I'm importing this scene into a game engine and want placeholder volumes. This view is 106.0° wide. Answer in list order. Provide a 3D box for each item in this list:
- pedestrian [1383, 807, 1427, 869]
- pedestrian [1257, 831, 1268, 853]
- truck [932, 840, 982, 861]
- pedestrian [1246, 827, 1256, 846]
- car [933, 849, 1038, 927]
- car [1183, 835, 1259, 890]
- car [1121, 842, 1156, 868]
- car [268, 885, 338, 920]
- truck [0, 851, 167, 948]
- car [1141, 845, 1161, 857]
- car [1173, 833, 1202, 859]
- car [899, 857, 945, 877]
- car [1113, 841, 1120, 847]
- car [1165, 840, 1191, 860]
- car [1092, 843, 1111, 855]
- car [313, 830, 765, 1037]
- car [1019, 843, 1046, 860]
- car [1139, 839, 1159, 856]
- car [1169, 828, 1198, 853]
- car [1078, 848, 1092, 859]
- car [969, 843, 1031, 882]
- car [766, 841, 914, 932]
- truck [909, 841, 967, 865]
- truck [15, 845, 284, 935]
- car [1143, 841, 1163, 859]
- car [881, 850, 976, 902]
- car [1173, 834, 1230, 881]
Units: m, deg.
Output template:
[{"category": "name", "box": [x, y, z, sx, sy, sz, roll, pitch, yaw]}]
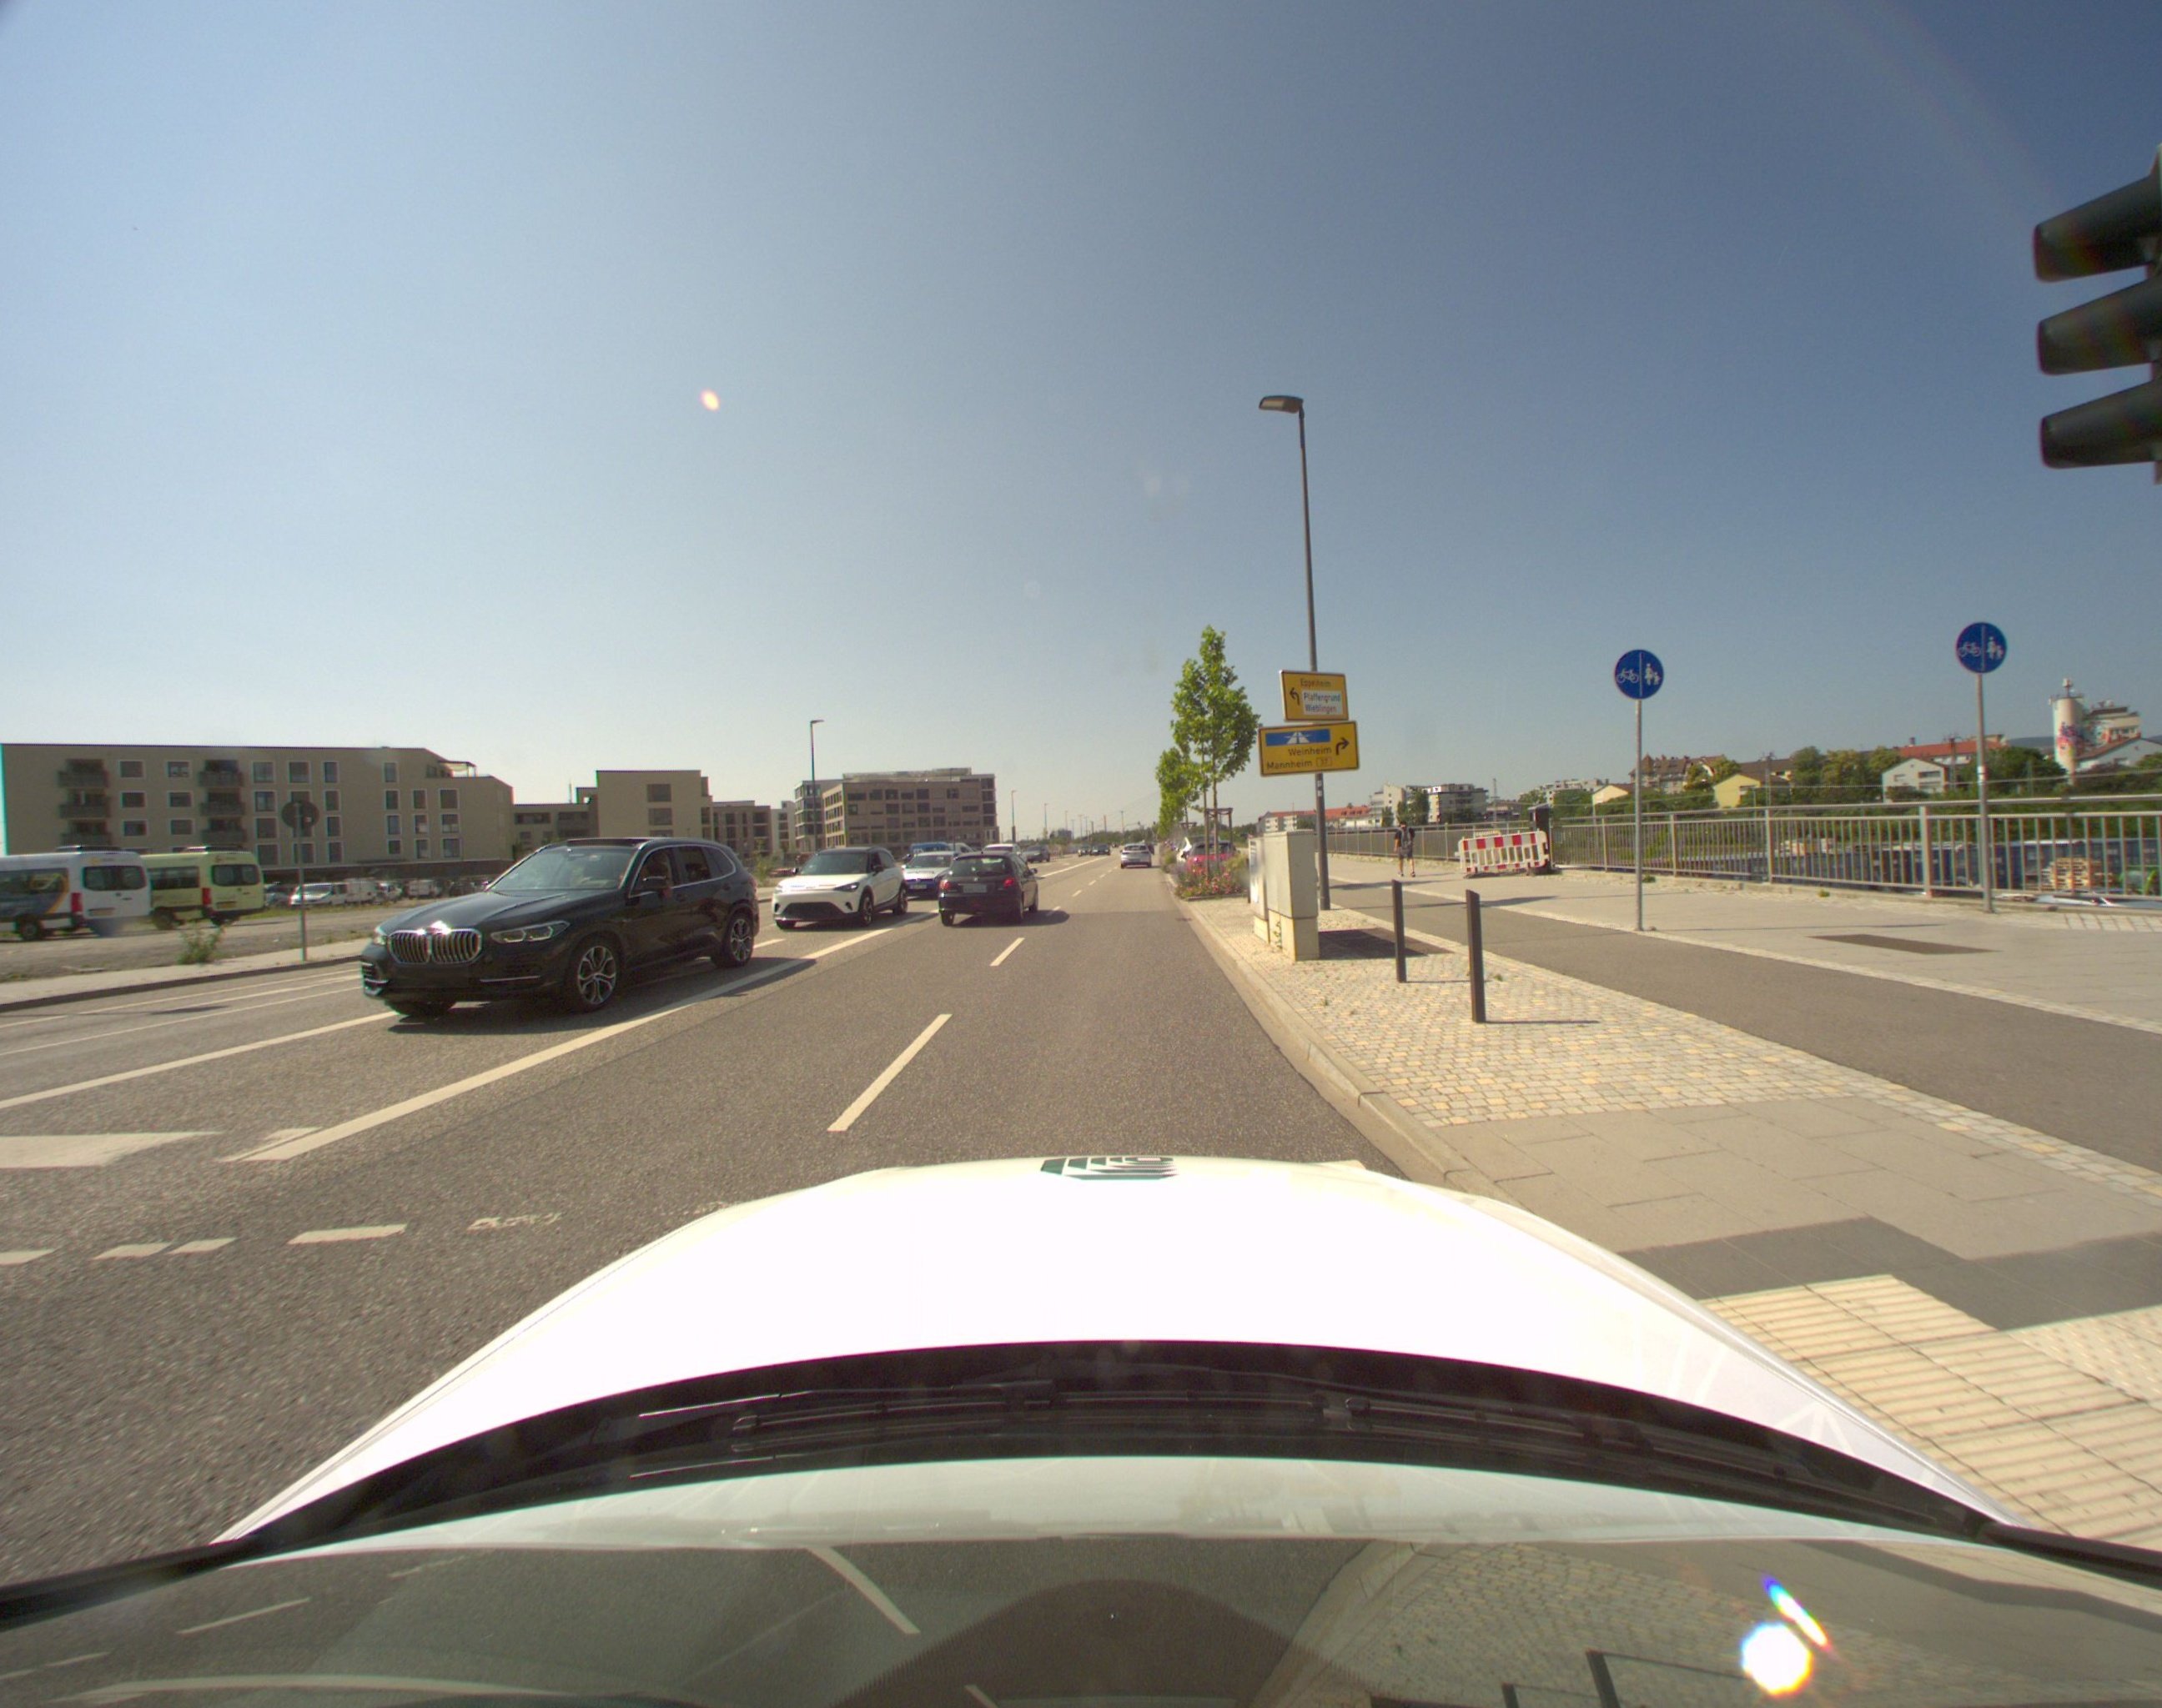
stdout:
[{"category": "pedestrian", "box": [9.009, -0.448, 22.683, 0.747, 1.609, 0.950, -5, 0, 5]}, {"category": "pedestrian", "box": [14.180, -0.930, 63.718, 0.728, 1.705, 0.652, -1, -1, 6]}, {"category": "truck", "box": [-15.054, -0.446, 98.699, 5.542, 2.362, 2.277, -2, 0, 3]}, {"category": "pedestrian", "box": [15.261, -1.583, 73.081, 0.777, 1.705, 0.743, -2, 0, 5]}, {"category": "car", "box": [-1.904, 0.647, 17.309, 1.613, 1.416, 3.729, -2, 0, 2]}, {"category": "car", "box": [4.229, 0.210, 25.167, 1.984, 1.519, 4.006, -2, 1, 5]}, {"category": "car", "box": [3.449, 0.056, 48.457, 1.768, 1.442, 4.009, -2, 0, 8]}, {"category": "car", "box": [-51.511, 3.180, 54.011, 2.005, 2.013, 4.612, -4, 1, -27]}, {"category": "truck", "box": [-32.778, 1.401, 25.493, 5.806, 2.824, 2.575, -1, -1, 6]}, {"category": "car", "box": [8.058, -0.318, 93.911, 1.629, 1.310, 3.995, -2, 0, -3]}, {"category": "car", "box": [6.520, -0.520, 50.142, 1.612, 1.478, 3.831, -3, 1, 6]}, {"category": "car", "box": [-15.773, 1.272, 80.704, 3.960, 1.904, 1.834, -2, 0, 12]}, {"category": "car", "box": [10.075, -2.804, 228.275, 1.696, 1.352, 4.463, -4, 0, 5]}, {"category": "car", "box": [7.786, -0.344, 65.899, 1.598, 1.491, 3.819, -5, 1, 1]}, {"category": "car", "box": [2.534, -0.636, 99.390, 1.778, 1.398, 4.580, -2, 1, 7]}, {"category": "car", "box": [-5.689, 0.657, 9.508, 1.931, 1.788, 4.659, -1, 1, 3]}, {"category": "car", "box": [-4.246, -0.162, 71.817, 1.884, 1.415, 3.603, -1, -1, 5]}, {"category": "car", "box": [6.703, -0.633, 80.480, 1.768, 1.569, 4.008, -1, -1, 7]}, {"category": "car", "box": [7.391, -0.995, 58.799, 1.899, 1.616, 4.557, -3, 1, 6]}, {"category": "car", "box": [0.598, 0.003, 110.528, 1.787, 1.416, 4.001, -1, -1, 1]}, {"category": "car", "box": [-3.652, 0.323, 37.470, 1.904, 1.649, 4.738, -1, 1, 5]}, {"category": "car", "box": [-5.098, 0.601, 17.834, 1.771, 1.682, 4.102, -2, 1, 3]}, {"category": "truck", "box": [-16.073, -0.128, 91.747, 5.980, 2.543, 2.276, -2, 0, 2]}, {"category": "truck", "box": [-32.735, 1.226, 28.791, 6.609, 2.825, 2.604, -2, 0, 2]}, {"category": "car", "box": [7.083, -0.376, 80.850, 1.786, 1.750, 4.003, -2, 0, 3]}, {"category": "car", "box": [-4.741, 0.629, 25.946, 1.777, 1.421, 4.289, -2, 1, 5]}, {"category": "car", "box": [4.625, 0.118, 31.863, 1.863, 1.627, 4.882, -2, 0, 4]}]
